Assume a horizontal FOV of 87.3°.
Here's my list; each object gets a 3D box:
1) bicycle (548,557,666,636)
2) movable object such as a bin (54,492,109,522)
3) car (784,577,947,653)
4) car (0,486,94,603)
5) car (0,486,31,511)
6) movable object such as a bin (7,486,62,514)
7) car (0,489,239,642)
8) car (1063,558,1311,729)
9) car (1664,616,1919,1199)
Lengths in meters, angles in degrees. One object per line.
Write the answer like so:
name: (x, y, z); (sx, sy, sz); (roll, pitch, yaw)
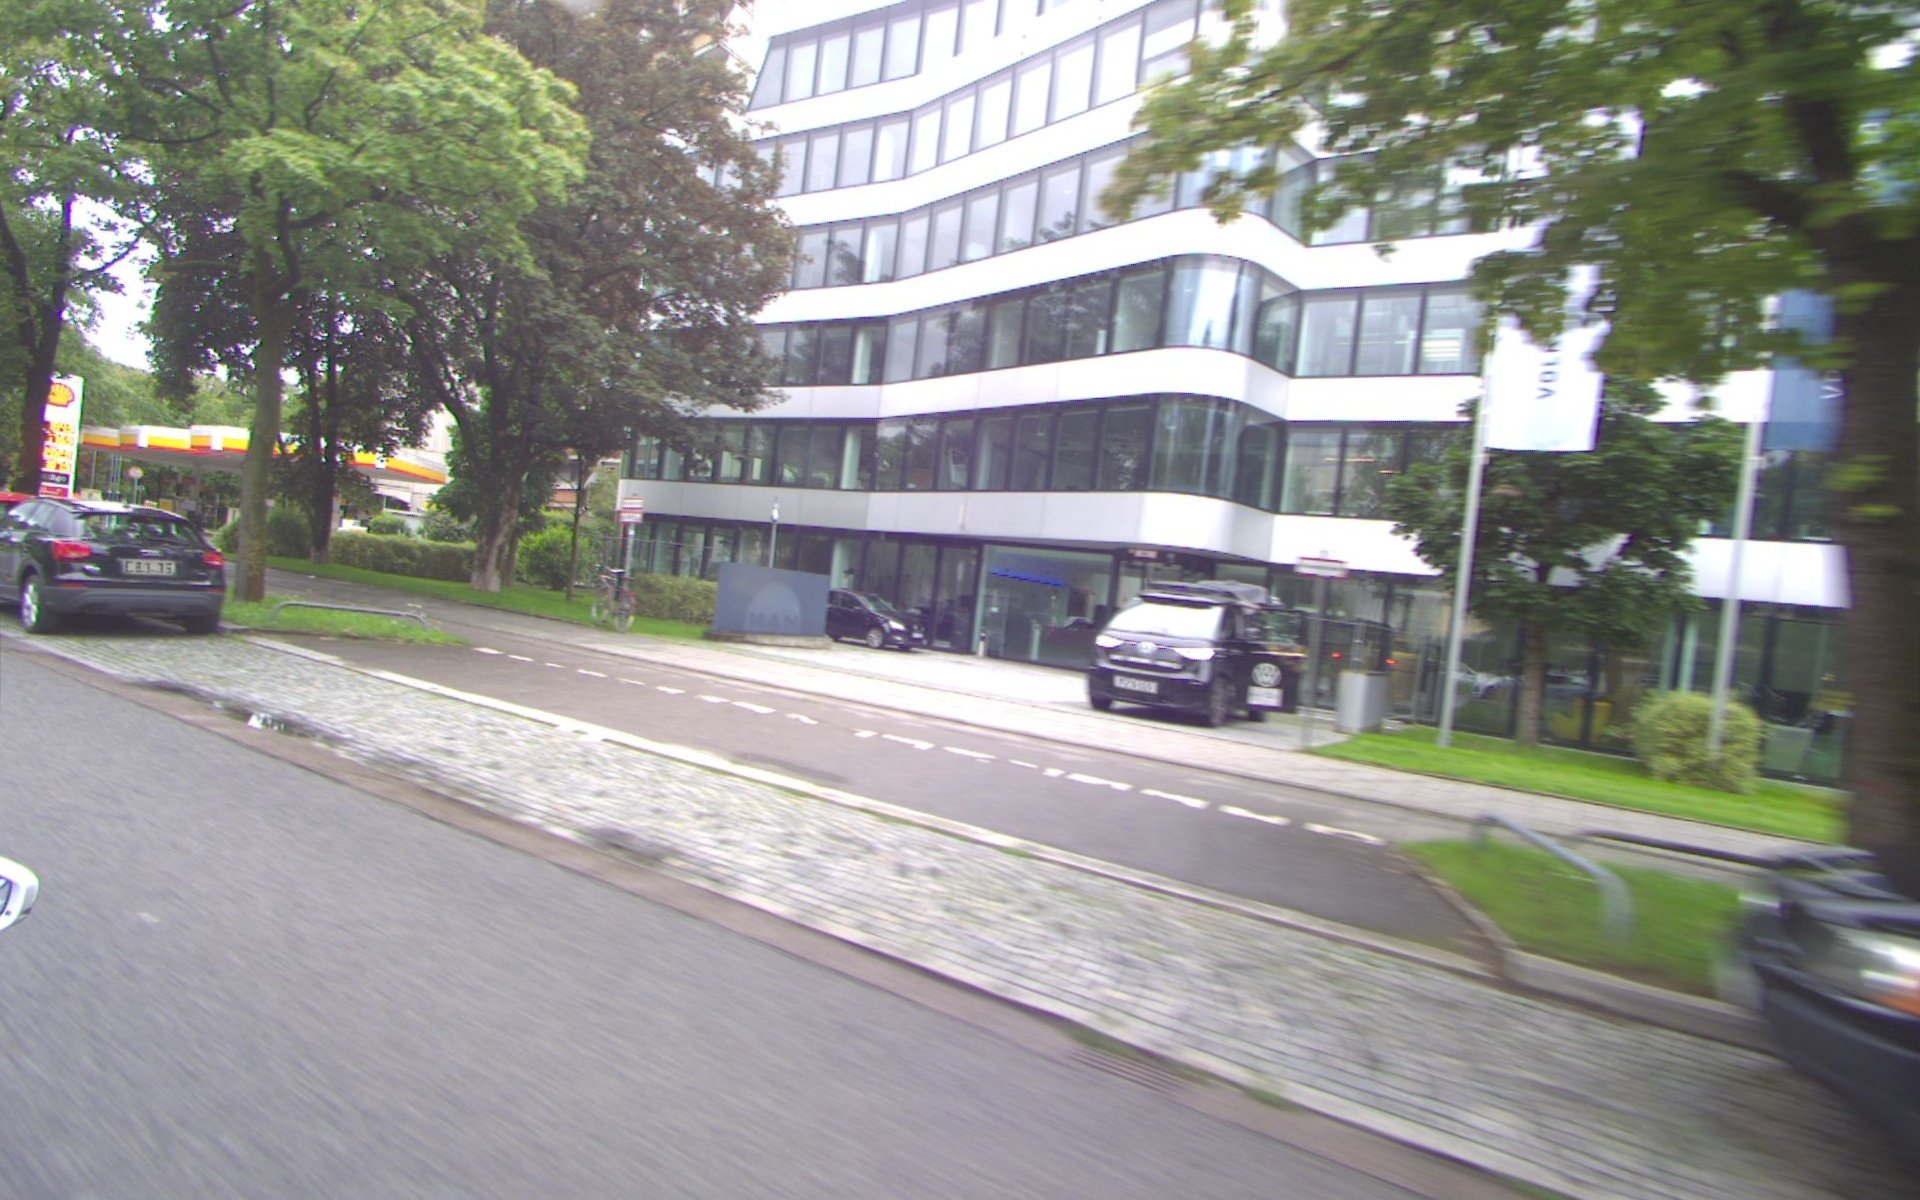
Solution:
bicycle: (-6.556, -0.078, 18.632); (2.209, 1.198, 0.749); (7, 1, 32)
movable object such as a bin: (-54.351, -5.762, 62.224); (1.807, 1.505, 2.062); (7, 0, 32)
car: (-2.636, 0.417, 27.916); (3.981, 1.567, 2.021); (7, 0, 31)
car: (-14.672, -0.949, 14.882); (3.954, 1.521, 1.676); (7, 2, 32)
car: (-68.924, -7.318, 71.648); (1.903, 1.633, 3.871); (8, 5, 38)
movable object such as a bin: (-55.499, -5.976, 60.320); (1.506, 1.279, 2.061); (7, 0, 32)
car: (-10.969, -0.498, 12.571); (4.216, 1.531, 1.779); (7, 2, 34)
car: (3.877, 0.726, 16.189); (2.111, 2.109, 5.476); (7, 0, 31)
car: (4.848, 1.252, 2.495); (4.780, 1.823, 1.894); (7, 1, 32)
